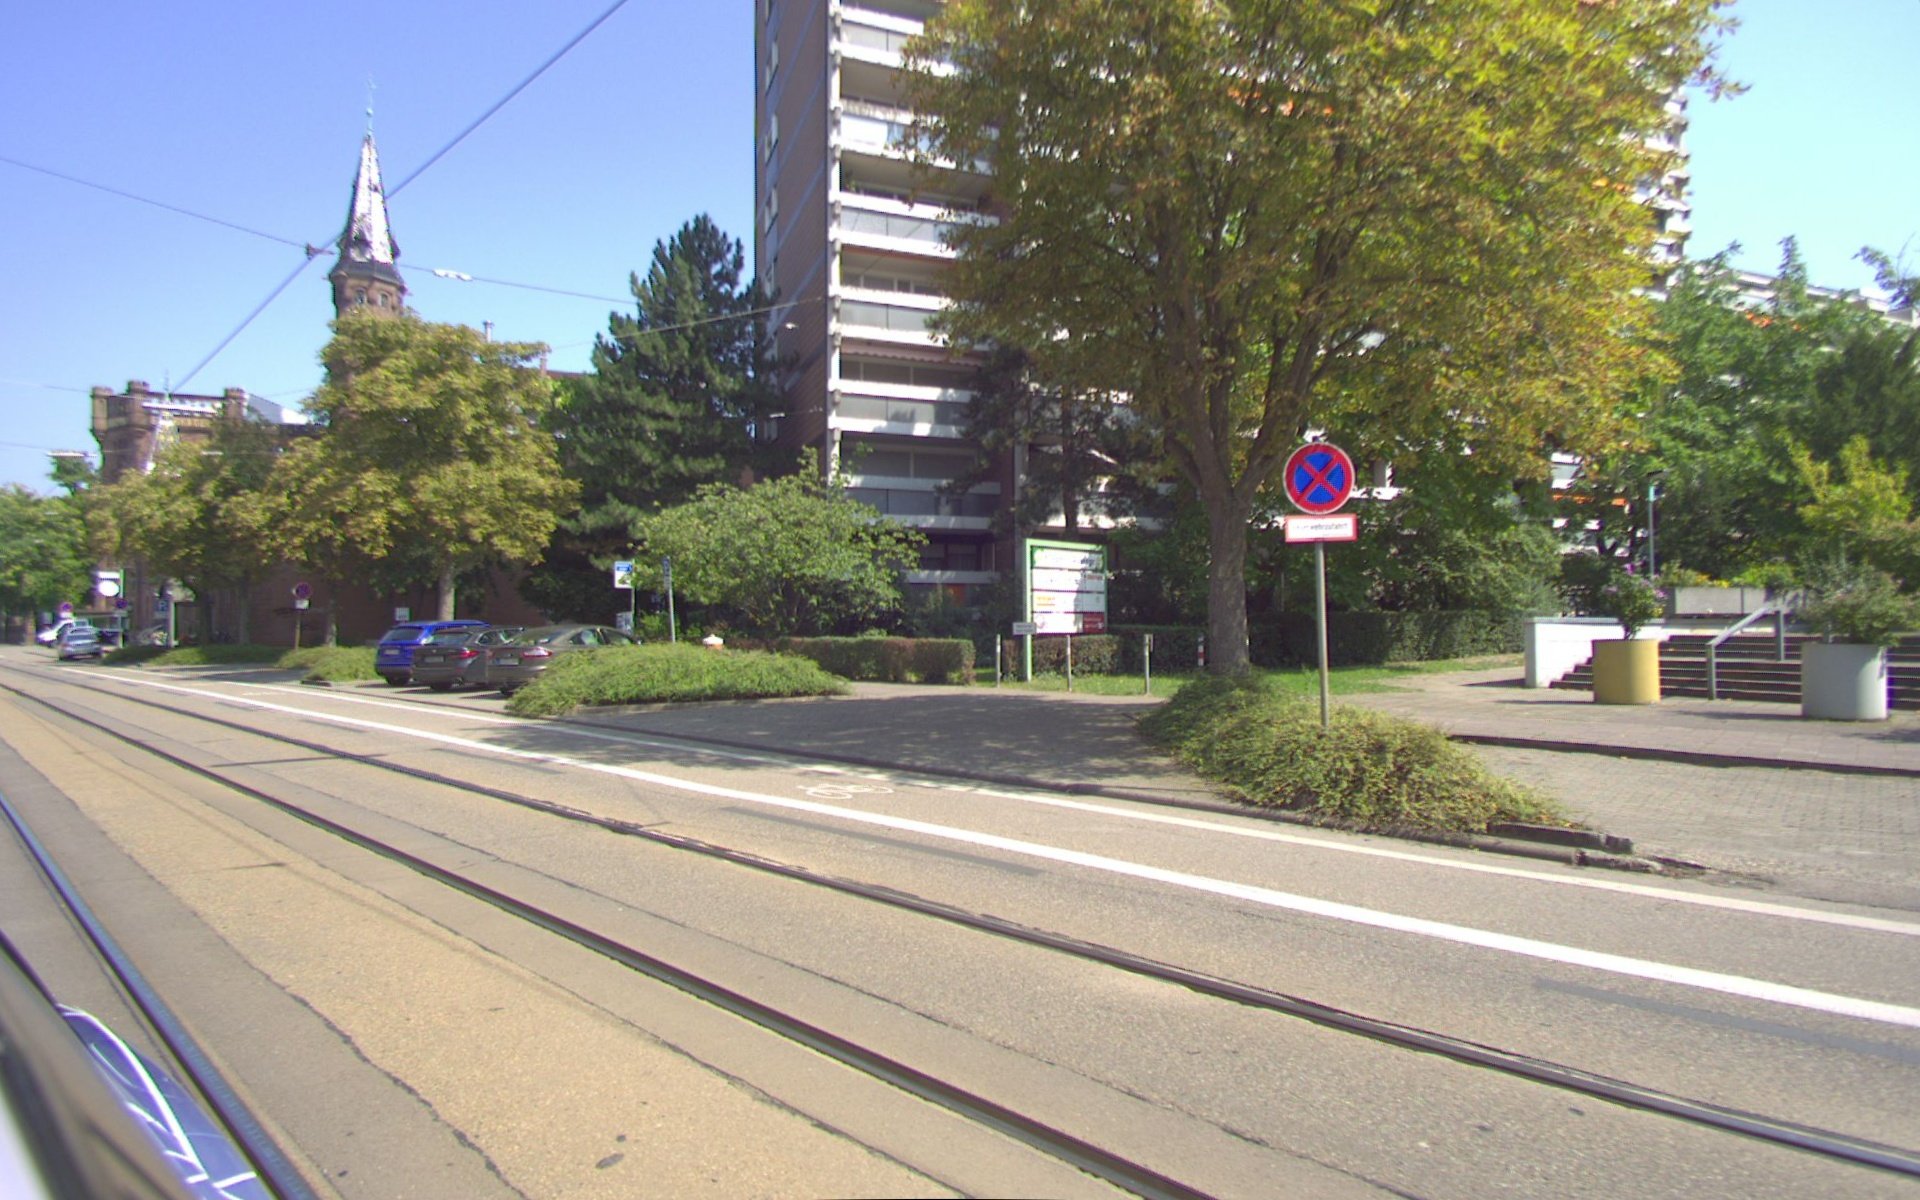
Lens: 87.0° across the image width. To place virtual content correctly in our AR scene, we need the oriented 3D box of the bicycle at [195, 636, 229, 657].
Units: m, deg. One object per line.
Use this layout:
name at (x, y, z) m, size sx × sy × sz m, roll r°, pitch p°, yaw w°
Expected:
bicycle at (-41.884, 2.596, 56.670) m, size 0.376 × 1.070 × 1.433 m, roll -2°, pitch 3°, yaw 32°

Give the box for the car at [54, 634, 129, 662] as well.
car at (-69.744, 3.857, 81.342) m, size 2.001 × 1.811 × 4.348 m, roll -2°, pitch 2°, yaw 45°

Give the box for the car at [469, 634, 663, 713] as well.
car at (-8.483, 1.542, 22.213) m, size 1.765 × 1.508 × 4.273 m, roll -1°, pitch -2°, yaw 16°

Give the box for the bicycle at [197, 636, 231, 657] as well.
bicycle at (-41.617, 2.588, 56.493) m, size 0.376 × 1.070 × 1.433 m, roll -2°, pitch 3°, yaw 32°

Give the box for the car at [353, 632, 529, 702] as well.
car at (-13.410, 1.679, 26.420) m, size 1.827 × 1.660 × 3.974 m, roll -1°, pitch -2°, yaw 19°

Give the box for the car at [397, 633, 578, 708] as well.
car at (-11.067, 1.605, 24.050) m, size 1.764 × 1.582 × 3.980 m, roll -1°, pitch -2°, yaw 15°

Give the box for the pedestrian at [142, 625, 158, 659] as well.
pedestrian at (-47.515, 2.438, 59.343) m, size 0.498 × 1.996 × 0.519 m, roll 0°, pitch -1°, yaw -3°

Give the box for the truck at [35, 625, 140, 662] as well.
truck at (-73.908, 3.653, 85.801) m, size 2.317 × 2.543 × 6.425 m, roll -2°, pitch 2°, yaw 43°

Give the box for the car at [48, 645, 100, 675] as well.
car at (-49.335, 3.309, 56.326) m, size 1.913 × 1.513 × 4.516 m, roll 1°, pitch -2°, yaw -45°
